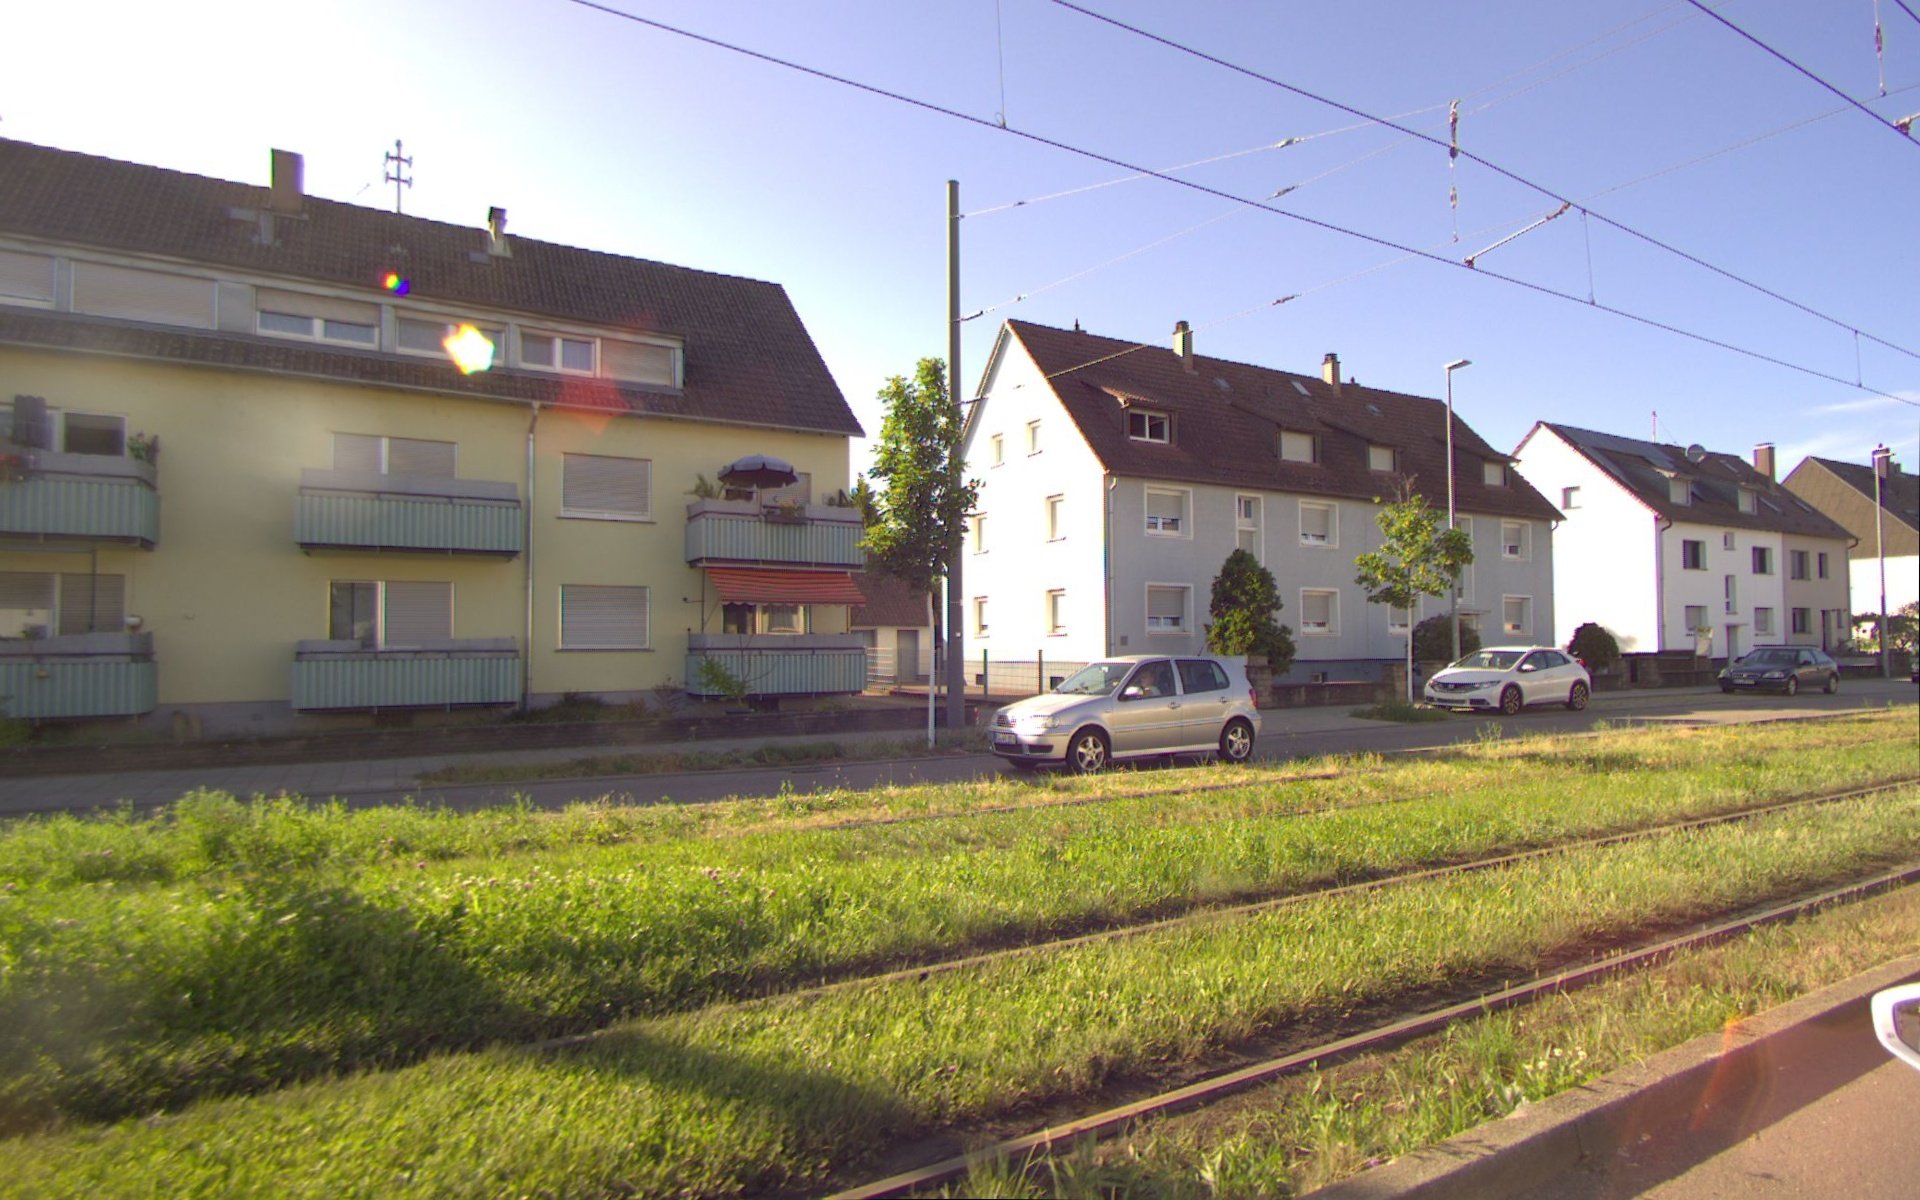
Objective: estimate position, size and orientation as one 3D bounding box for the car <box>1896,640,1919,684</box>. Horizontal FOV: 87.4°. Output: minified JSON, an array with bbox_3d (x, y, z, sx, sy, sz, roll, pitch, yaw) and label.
[{"bbox_3d":[36.493,2.247,36.643,4.817,1.543,1.871,1,-2,-27],"label":"car"}]

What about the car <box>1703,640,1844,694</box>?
[{"bbox_3d":[23.980,1.943,29.605,4.115,1.482,1.783,1,-3,-29],"label":"car"}]

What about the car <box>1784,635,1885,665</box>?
[{"bbox_3d":[51.751,2.953,59.530,1.832,1.676,4.146,1,-3,-25],"label":"car"}]

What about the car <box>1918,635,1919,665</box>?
[{"bbox_3d":[54.834,2.707,54.269,1.740,1.638,4.143,1,-3,-32],"label":"car"}]

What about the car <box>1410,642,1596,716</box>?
[{"bbox_3d":[12.331,1.735,22.772,4.162,1.537,1.686,1,-3,-29],"label":"car"}]

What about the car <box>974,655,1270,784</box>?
[{"bbox_3d":[2.123,1.451,13.011,3.614,1.430,1.544,1,-3,-29],"label":"car"}]
